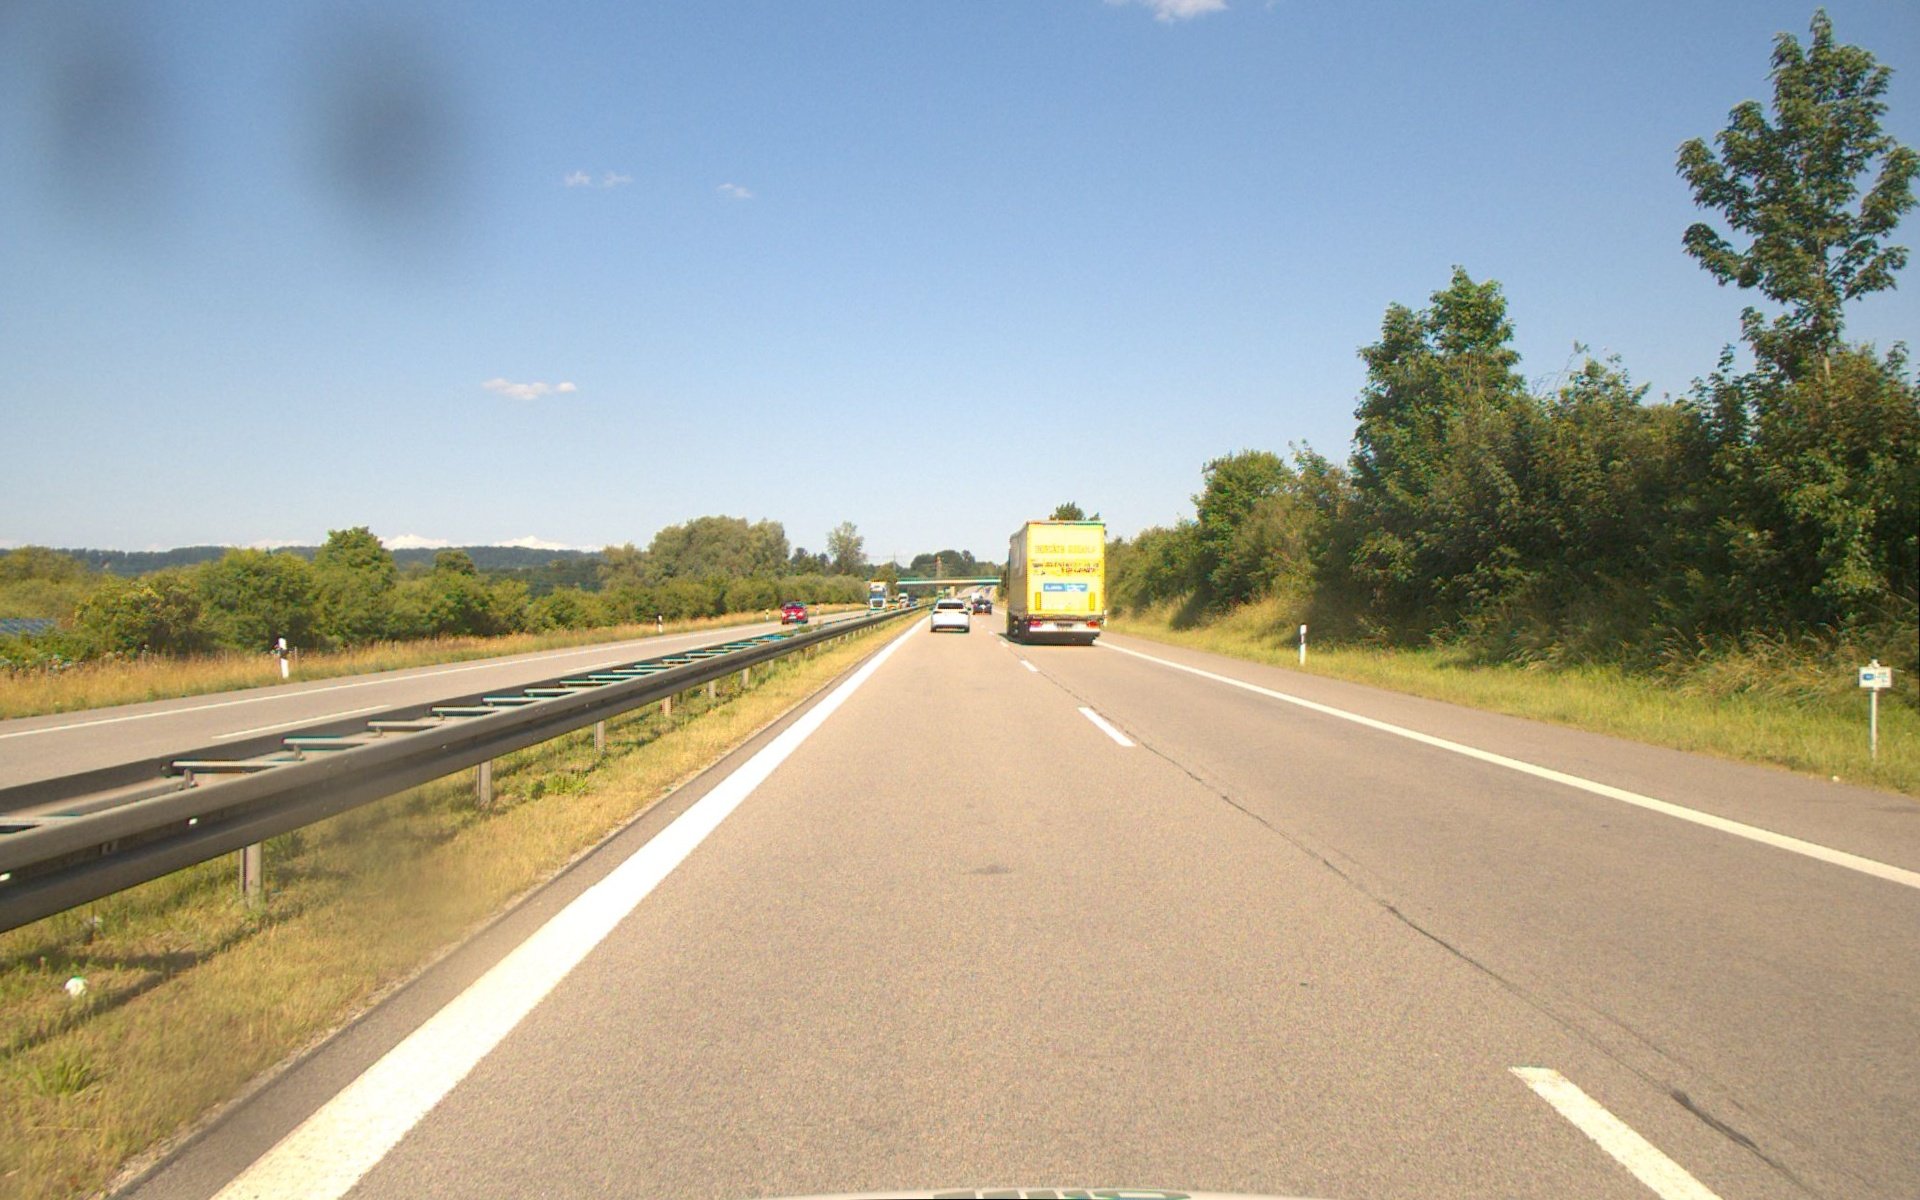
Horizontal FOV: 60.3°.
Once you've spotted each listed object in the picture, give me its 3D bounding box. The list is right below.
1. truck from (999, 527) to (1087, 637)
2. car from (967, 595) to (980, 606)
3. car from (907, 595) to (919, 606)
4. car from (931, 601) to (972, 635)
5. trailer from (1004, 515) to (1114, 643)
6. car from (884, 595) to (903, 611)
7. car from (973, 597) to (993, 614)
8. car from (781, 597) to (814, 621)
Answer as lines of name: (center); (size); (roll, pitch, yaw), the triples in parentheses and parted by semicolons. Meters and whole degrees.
truck: (3.304, -0.697, 67.515); (3.104, 4.186, 6.386); (1, 0, -1)
car: (2.127, 0.074, 261.020); (1.863, 1.712, 4.730); (2, 0, -1)
car: (-7.275, 0.086, 256.657); (1.690, 1.610, 4.767); (-3, 0, 0)
car: (-0.358, 0.793, 74.563); (1.805, 1.440, 4.000); (1, 0, 0)
trailer: (3.392, -0.673, 60.376); (3.119, 4.130, 13.185); (1, 0, 0)
car: (-7.863, 0.340, 195.231); (1.910, 1.802, 4.749); (-2, 0, 1)
car: (2.170, 0.548, 157.714); (1.805, 1.546, 4.000); (1, 0, 0)
car: (-11.197, 0.624, 114.203); (1.695, 1.537, 4.480); (-3, 0, 1)
